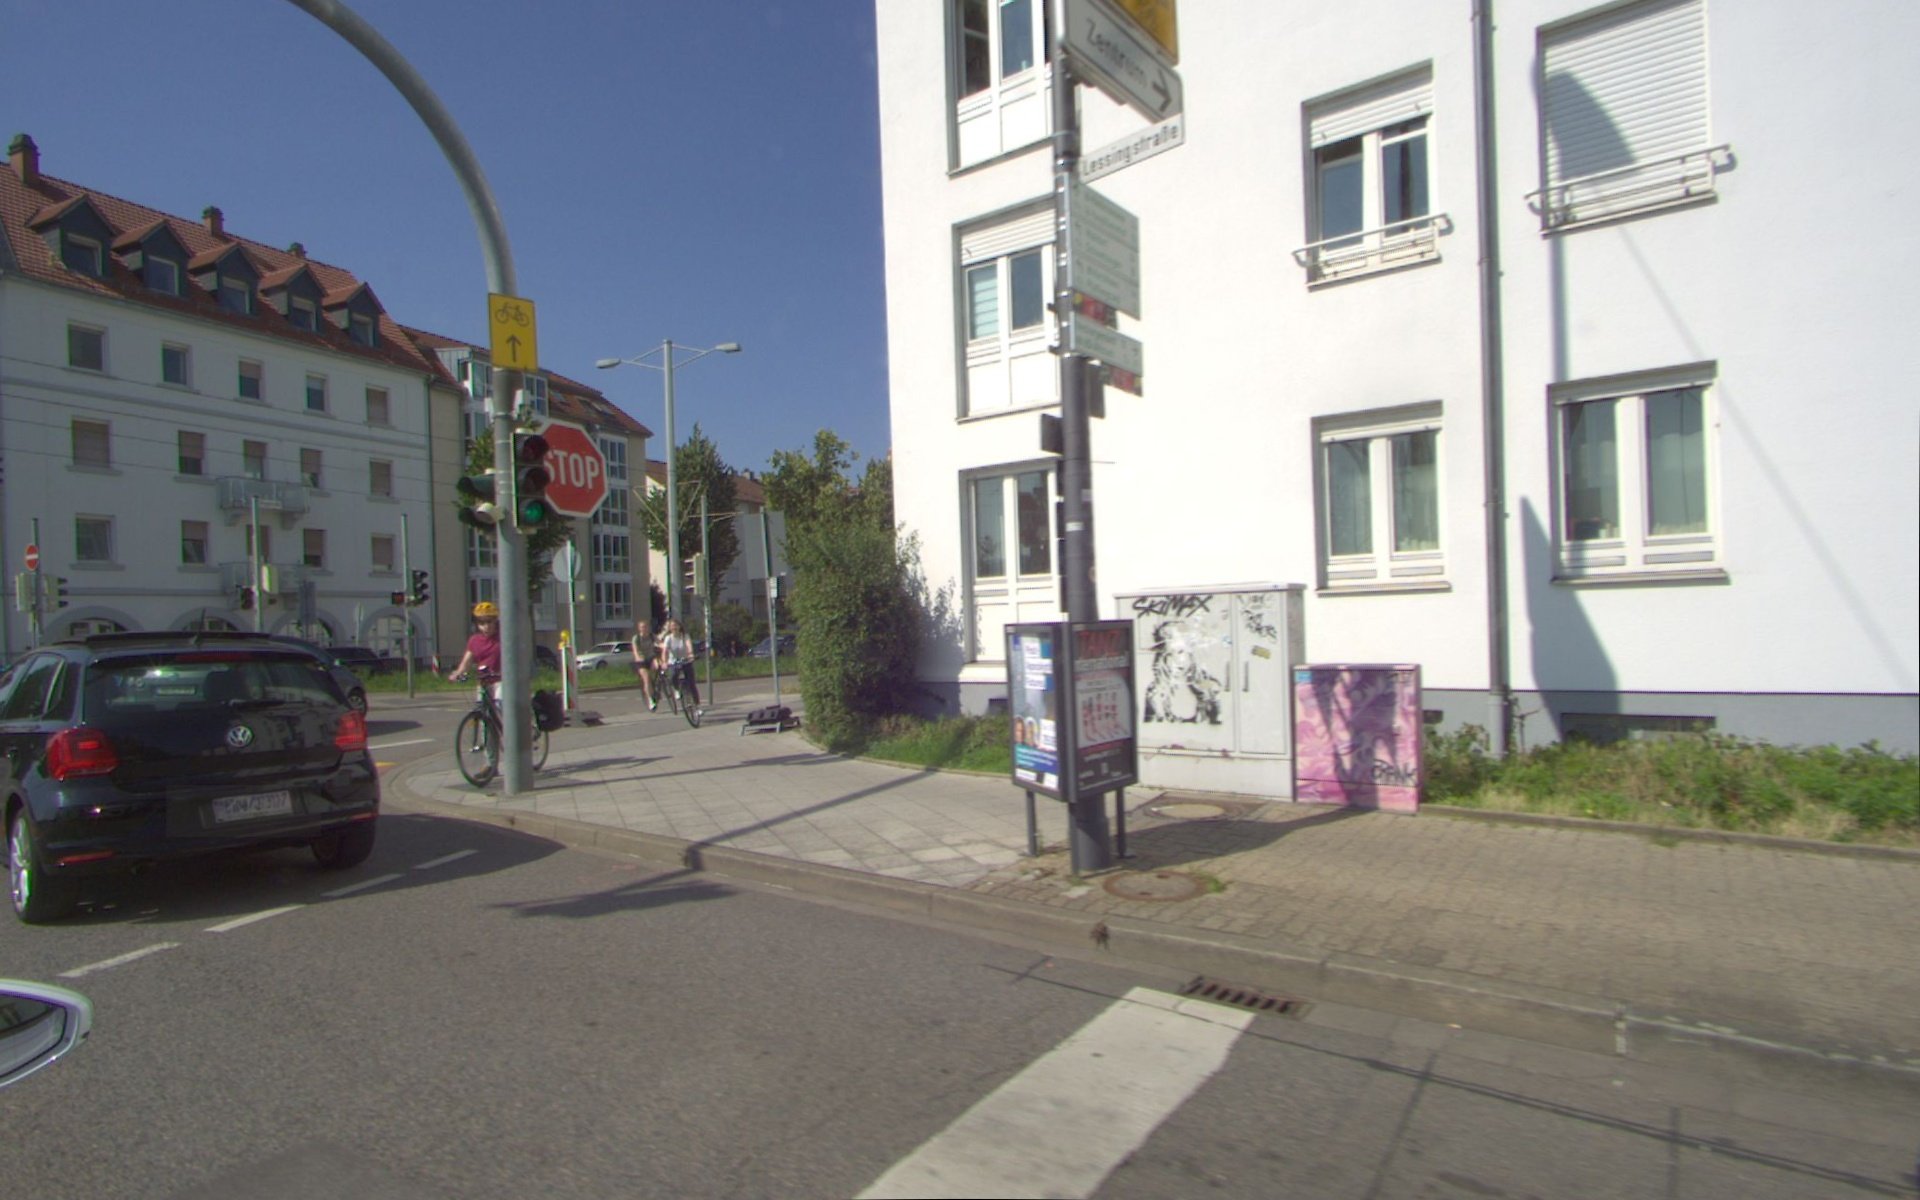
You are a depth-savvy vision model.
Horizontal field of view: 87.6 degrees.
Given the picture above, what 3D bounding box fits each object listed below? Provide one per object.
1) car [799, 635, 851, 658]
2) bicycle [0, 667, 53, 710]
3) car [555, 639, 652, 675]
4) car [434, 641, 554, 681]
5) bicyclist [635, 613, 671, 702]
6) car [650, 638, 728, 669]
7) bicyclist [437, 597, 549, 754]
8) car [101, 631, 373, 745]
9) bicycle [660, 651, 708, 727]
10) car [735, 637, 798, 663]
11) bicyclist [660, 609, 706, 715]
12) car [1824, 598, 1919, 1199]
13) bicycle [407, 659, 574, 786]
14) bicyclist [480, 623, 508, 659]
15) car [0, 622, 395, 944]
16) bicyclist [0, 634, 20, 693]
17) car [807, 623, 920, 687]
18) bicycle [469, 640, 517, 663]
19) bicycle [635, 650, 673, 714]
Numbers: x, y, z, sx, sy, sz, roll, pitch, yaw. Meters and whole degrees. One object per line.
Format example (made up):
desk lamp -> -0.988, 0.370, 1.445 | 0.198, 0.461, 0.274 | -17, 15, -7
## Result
car -> -8.510, 2.945, 63.420 | 1.737, 1.371, 3.996 | -3, -3, 17
bicycle -> -23.948, 2.207, 24.693 | 2.204, 1.002, 0.868 | -1, -2, -12
car -> -15.364, 2.445, 43.381 | 1.739, 1.371, 3.991 | -3, -3, 23
car -> -17.557, 2.285, 37.920 | 1.739, 1.371, 3.990 | -3, -3, 24
bicyclist -> -5.813, 1.079, 18.947 | 0.613, 1.610, 0.916 | -1, -1, -18
car -> -13.407, 2.641, 49.789 | 1.738, 1.371, 3.993 | -3, -3, 21
bicyclist -> -4.706, 0.748, 10.137 | 0.586, 1.496, 0.918 | -2, -1, 9
car -> -11.188, 1.291, 15.846 | 1.664, 1.575, 3.658 | 1, -2, -1
bicycle -> -4.402, 1.372, 15.897 | 0.617, 1.113, 1.783 | -1, -2, -19
car -> -10.898, 2.813, 56.665 | 1.737, 1.371, 3.994 | -3, -3, 19
bicyclist -> -4.366, 0.968, 15.769 | 0.613, 1.599, 0.916 | -1, -1, -19
car -> 3.301, 0.711, 0.242 | 4.488, 1.500, 1.667 | -1, -2, 34
bicycle -> -4.692, 1.189, 10.155 | 0.593, 1.113, 1.814 | -2, -2, 9
bicyclist -> -21.698, 1.899, 46.616 | 0.999, 1.675, 0.802 | 0, -1, -42
car -> -5.278, 0.920, 6.446 | 3.616, 1.512, 1.584 | -2, -2, 37
bicyclist -> -24.020, 1.584, 24.697 | 0.900, 1.433, 0.868 | -1, -2, -12
car -> -2.666, 1.529, 28.493 | 1.710, 1.658, 3.734 | -2, -2, 20
bicycle -> -21.722, 2.395, 46.580 | 1.893, 1.033, 0.814 | 1, -2, -43
bicycle -> -5.804, 1.522, 18.953 | 0.608, 1.113, 1.783 | -2, -1, -18
